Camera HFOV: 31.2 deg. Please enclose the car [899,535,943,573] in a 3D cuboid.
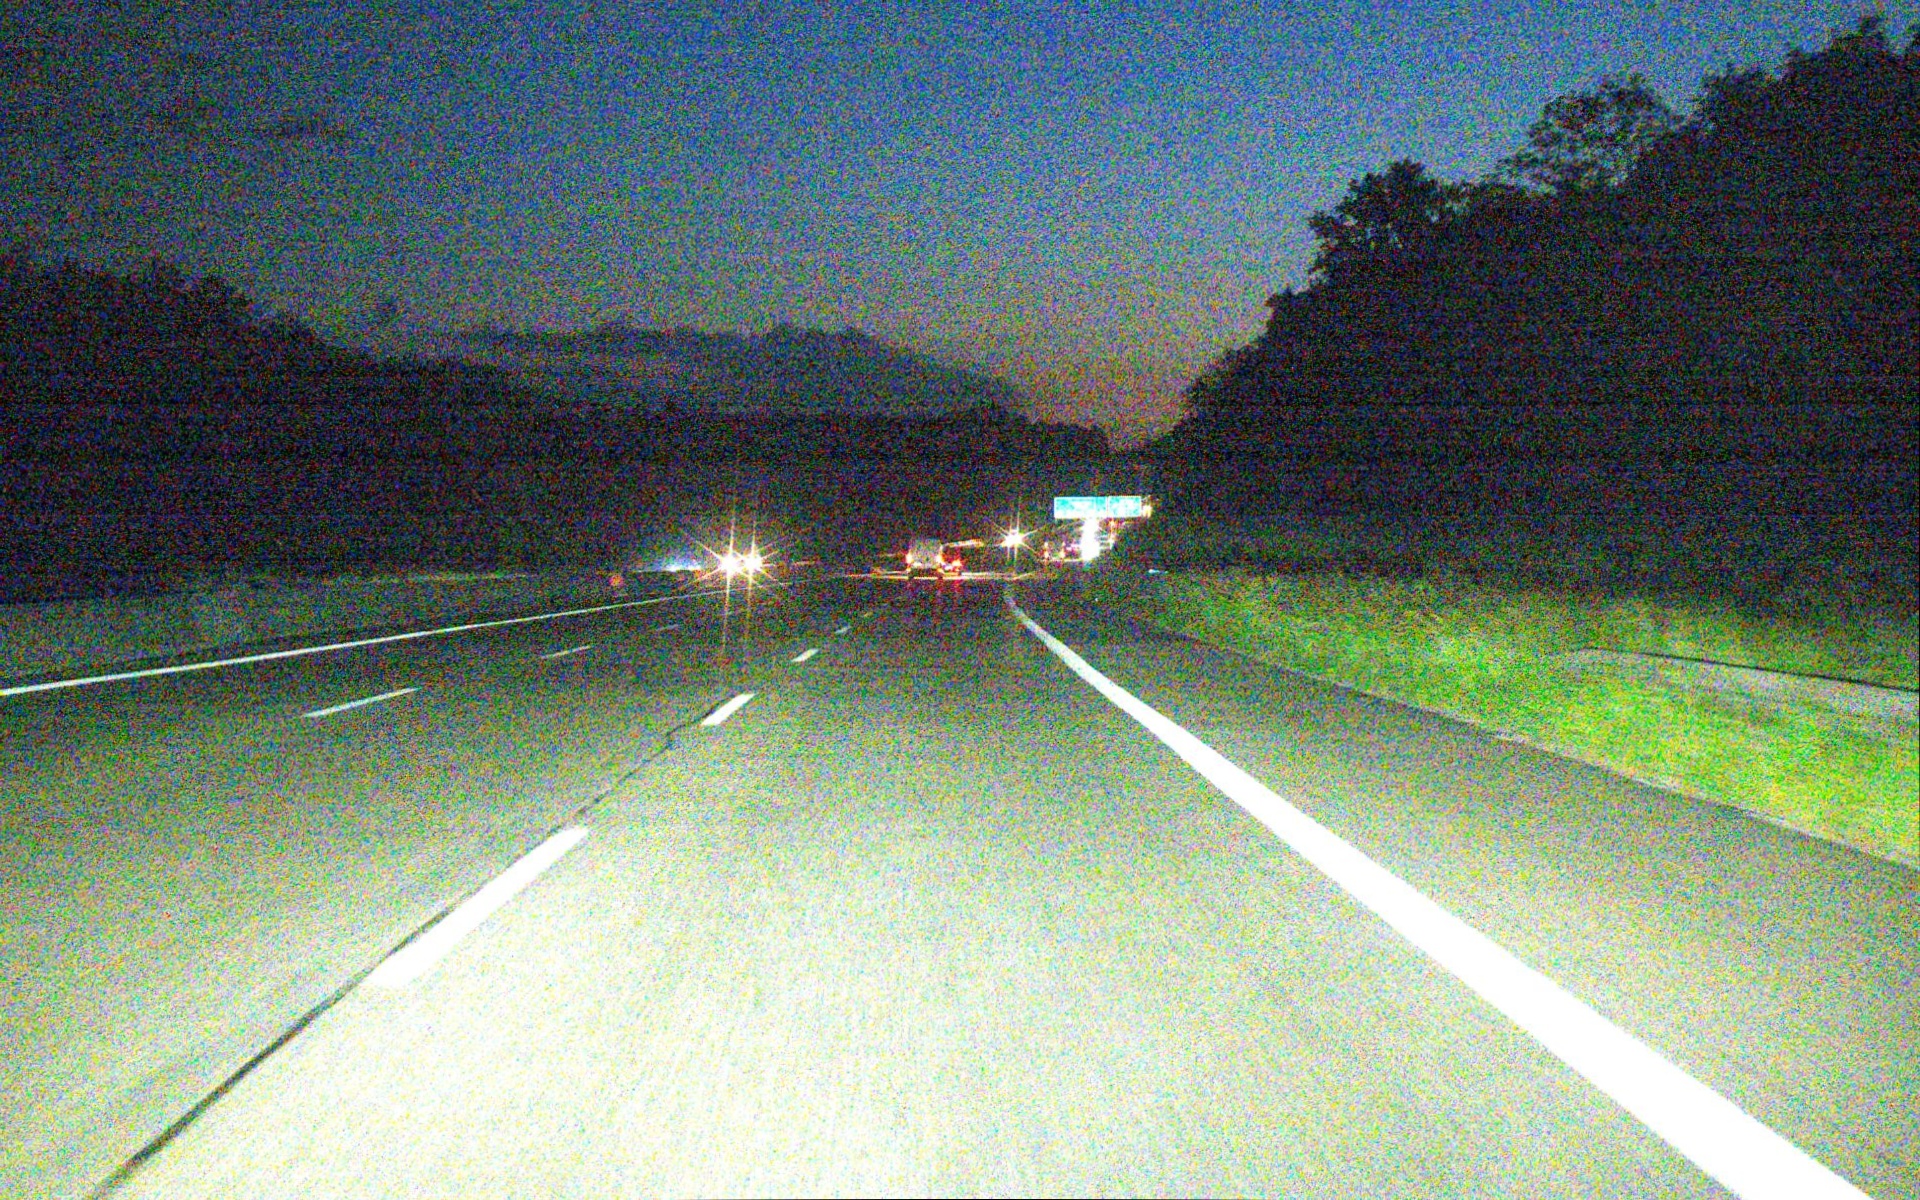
[{"bbox_3d":[-2.373,-2.833,211.222,2.511,2.306,4.970,0,1,2],"label":"car"}]
